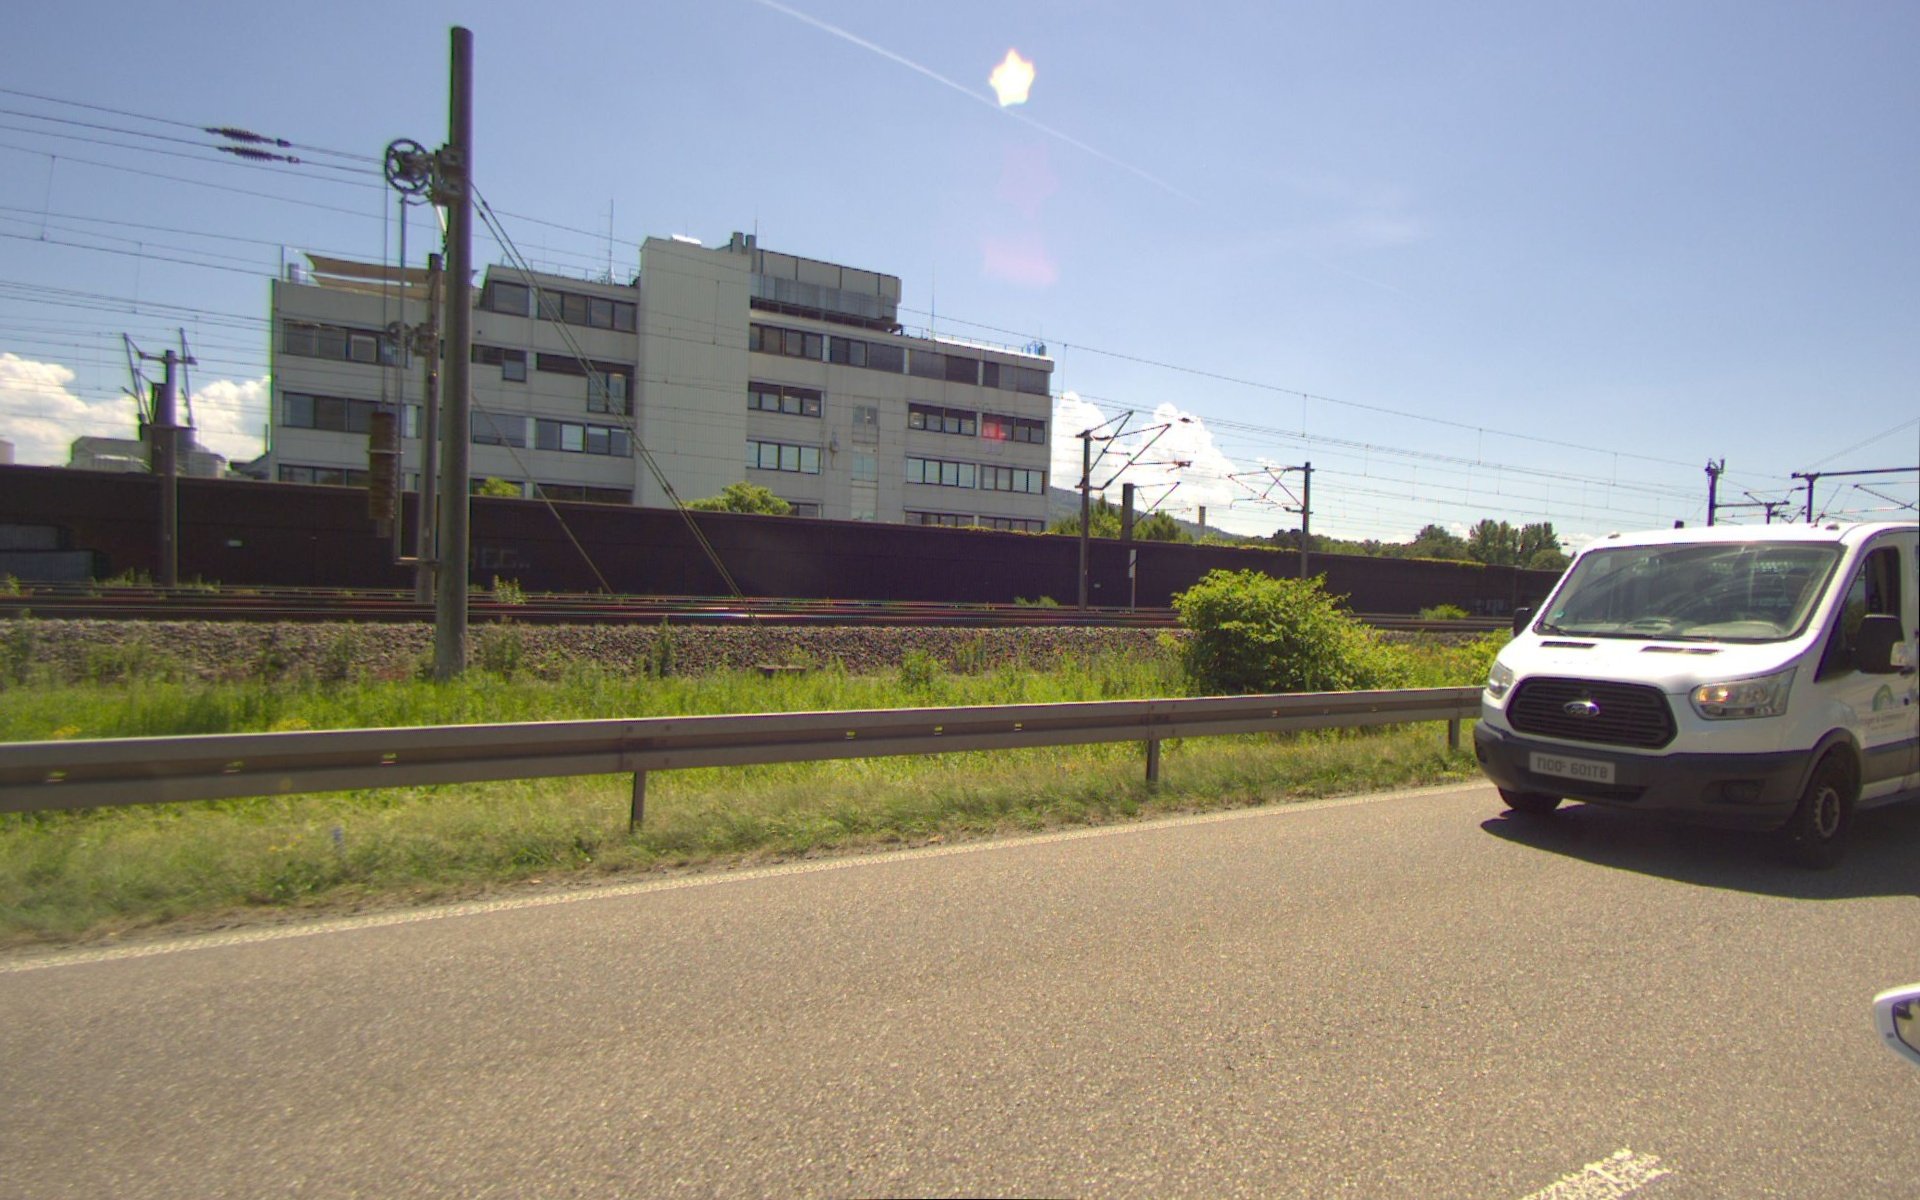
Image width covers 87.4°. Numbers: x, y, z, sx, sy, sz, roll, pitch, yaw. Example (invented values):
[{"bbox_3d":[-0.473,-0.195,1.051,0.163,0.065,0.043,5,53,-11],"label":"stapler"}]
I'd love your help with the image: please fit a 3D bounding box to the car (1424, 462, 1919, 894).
[{"bbox_3d":[6.643,0.476,7.887,6.160,2.317,2.251,1,0,-29],"label":"car"}]
